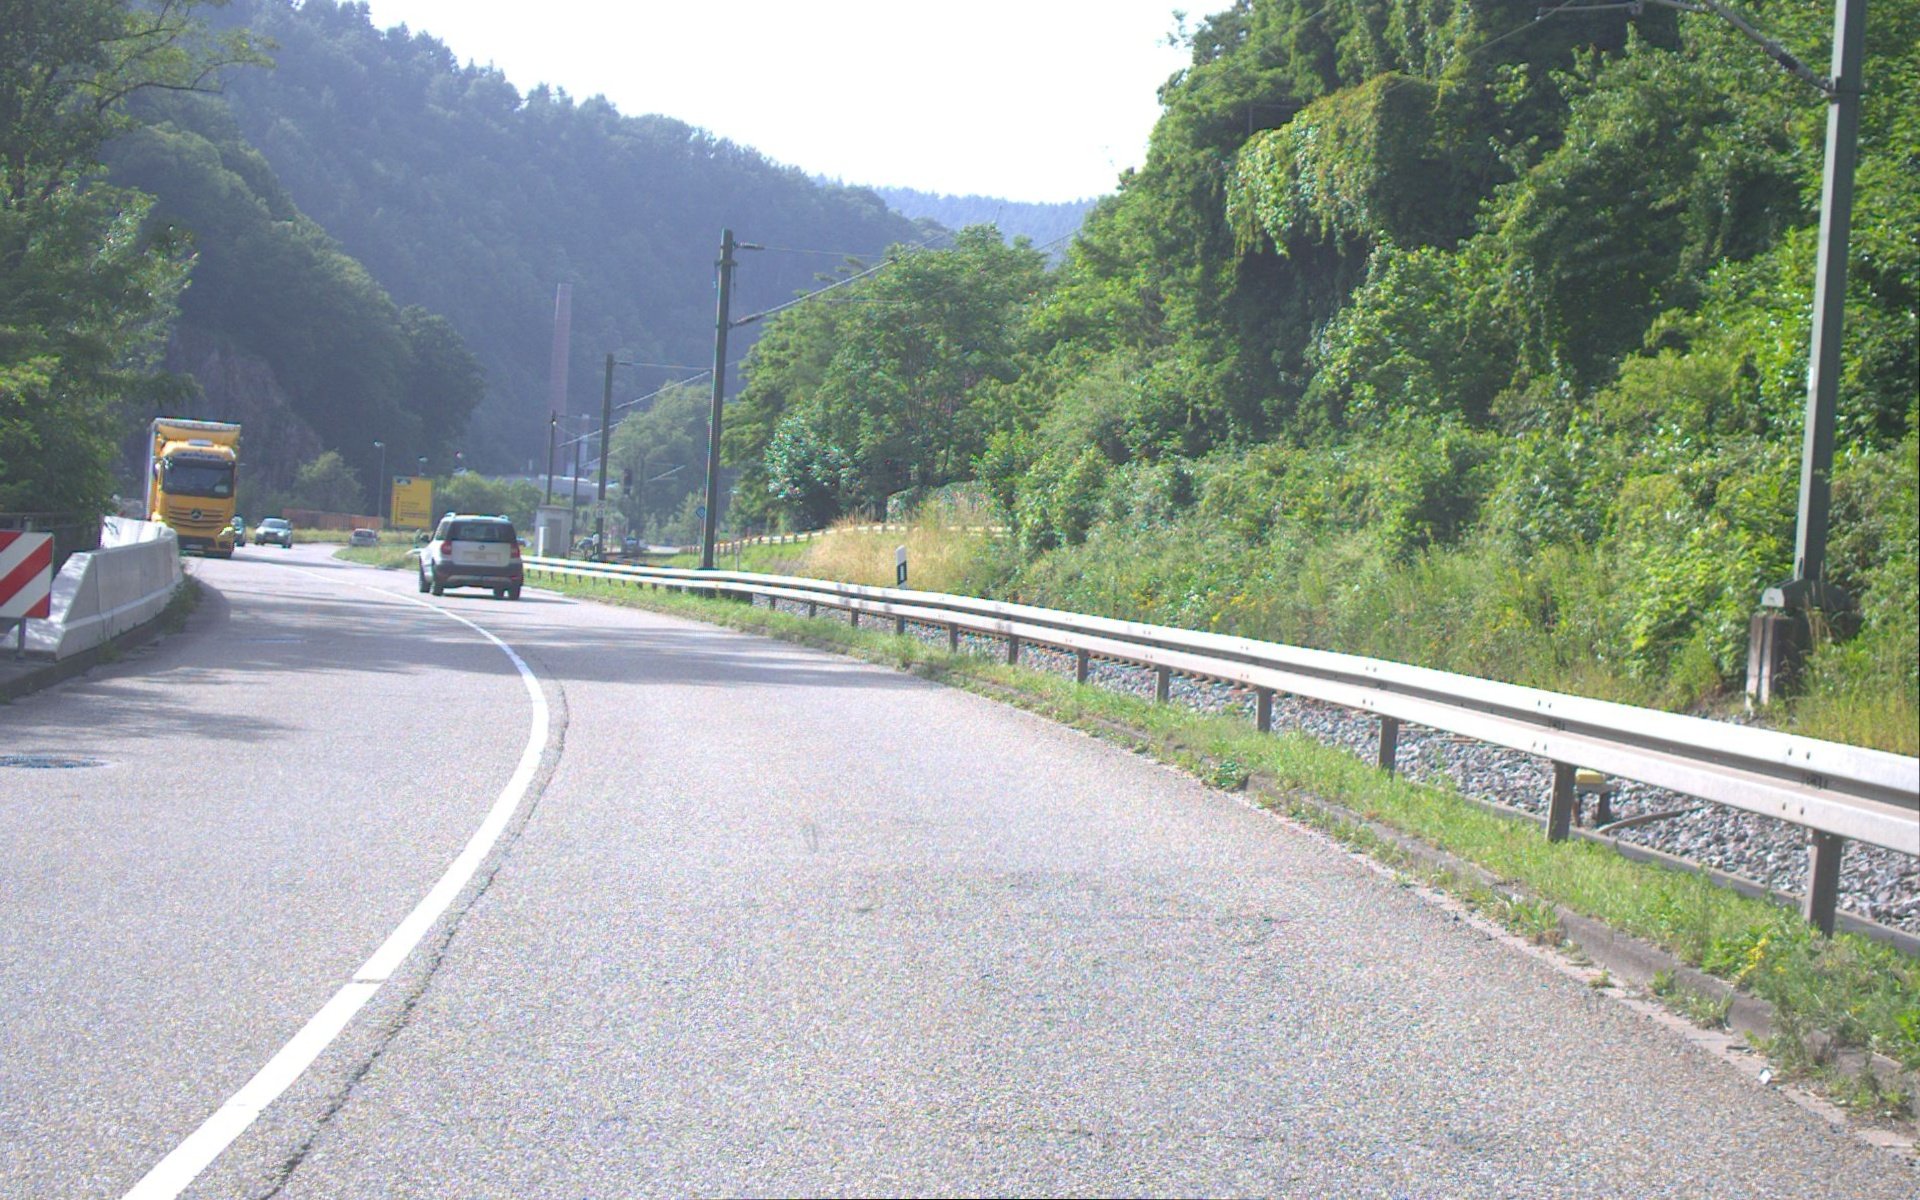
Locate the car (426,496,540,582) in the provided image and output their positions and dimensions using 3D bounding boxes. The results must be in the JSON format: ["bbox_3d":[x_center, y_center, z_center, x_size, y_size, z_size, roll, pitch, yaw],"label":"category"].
[{"bbox_3d":[-9.716,-1.239,69.800,1.872,1.650,4.001,1,1,-14],"label":"car"}]

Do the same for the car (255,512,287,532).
[{"bbox_3d":[-41.312,-4.698,206.149,1.472,1.081,3.274,5,1,-6],"label":"car"}]

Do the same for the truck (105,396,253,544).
[{"bbox_3d":[-24.809,-3.999,108.674,3.368,4.368,12.713,0,1,-18],"label":"truck"}]
